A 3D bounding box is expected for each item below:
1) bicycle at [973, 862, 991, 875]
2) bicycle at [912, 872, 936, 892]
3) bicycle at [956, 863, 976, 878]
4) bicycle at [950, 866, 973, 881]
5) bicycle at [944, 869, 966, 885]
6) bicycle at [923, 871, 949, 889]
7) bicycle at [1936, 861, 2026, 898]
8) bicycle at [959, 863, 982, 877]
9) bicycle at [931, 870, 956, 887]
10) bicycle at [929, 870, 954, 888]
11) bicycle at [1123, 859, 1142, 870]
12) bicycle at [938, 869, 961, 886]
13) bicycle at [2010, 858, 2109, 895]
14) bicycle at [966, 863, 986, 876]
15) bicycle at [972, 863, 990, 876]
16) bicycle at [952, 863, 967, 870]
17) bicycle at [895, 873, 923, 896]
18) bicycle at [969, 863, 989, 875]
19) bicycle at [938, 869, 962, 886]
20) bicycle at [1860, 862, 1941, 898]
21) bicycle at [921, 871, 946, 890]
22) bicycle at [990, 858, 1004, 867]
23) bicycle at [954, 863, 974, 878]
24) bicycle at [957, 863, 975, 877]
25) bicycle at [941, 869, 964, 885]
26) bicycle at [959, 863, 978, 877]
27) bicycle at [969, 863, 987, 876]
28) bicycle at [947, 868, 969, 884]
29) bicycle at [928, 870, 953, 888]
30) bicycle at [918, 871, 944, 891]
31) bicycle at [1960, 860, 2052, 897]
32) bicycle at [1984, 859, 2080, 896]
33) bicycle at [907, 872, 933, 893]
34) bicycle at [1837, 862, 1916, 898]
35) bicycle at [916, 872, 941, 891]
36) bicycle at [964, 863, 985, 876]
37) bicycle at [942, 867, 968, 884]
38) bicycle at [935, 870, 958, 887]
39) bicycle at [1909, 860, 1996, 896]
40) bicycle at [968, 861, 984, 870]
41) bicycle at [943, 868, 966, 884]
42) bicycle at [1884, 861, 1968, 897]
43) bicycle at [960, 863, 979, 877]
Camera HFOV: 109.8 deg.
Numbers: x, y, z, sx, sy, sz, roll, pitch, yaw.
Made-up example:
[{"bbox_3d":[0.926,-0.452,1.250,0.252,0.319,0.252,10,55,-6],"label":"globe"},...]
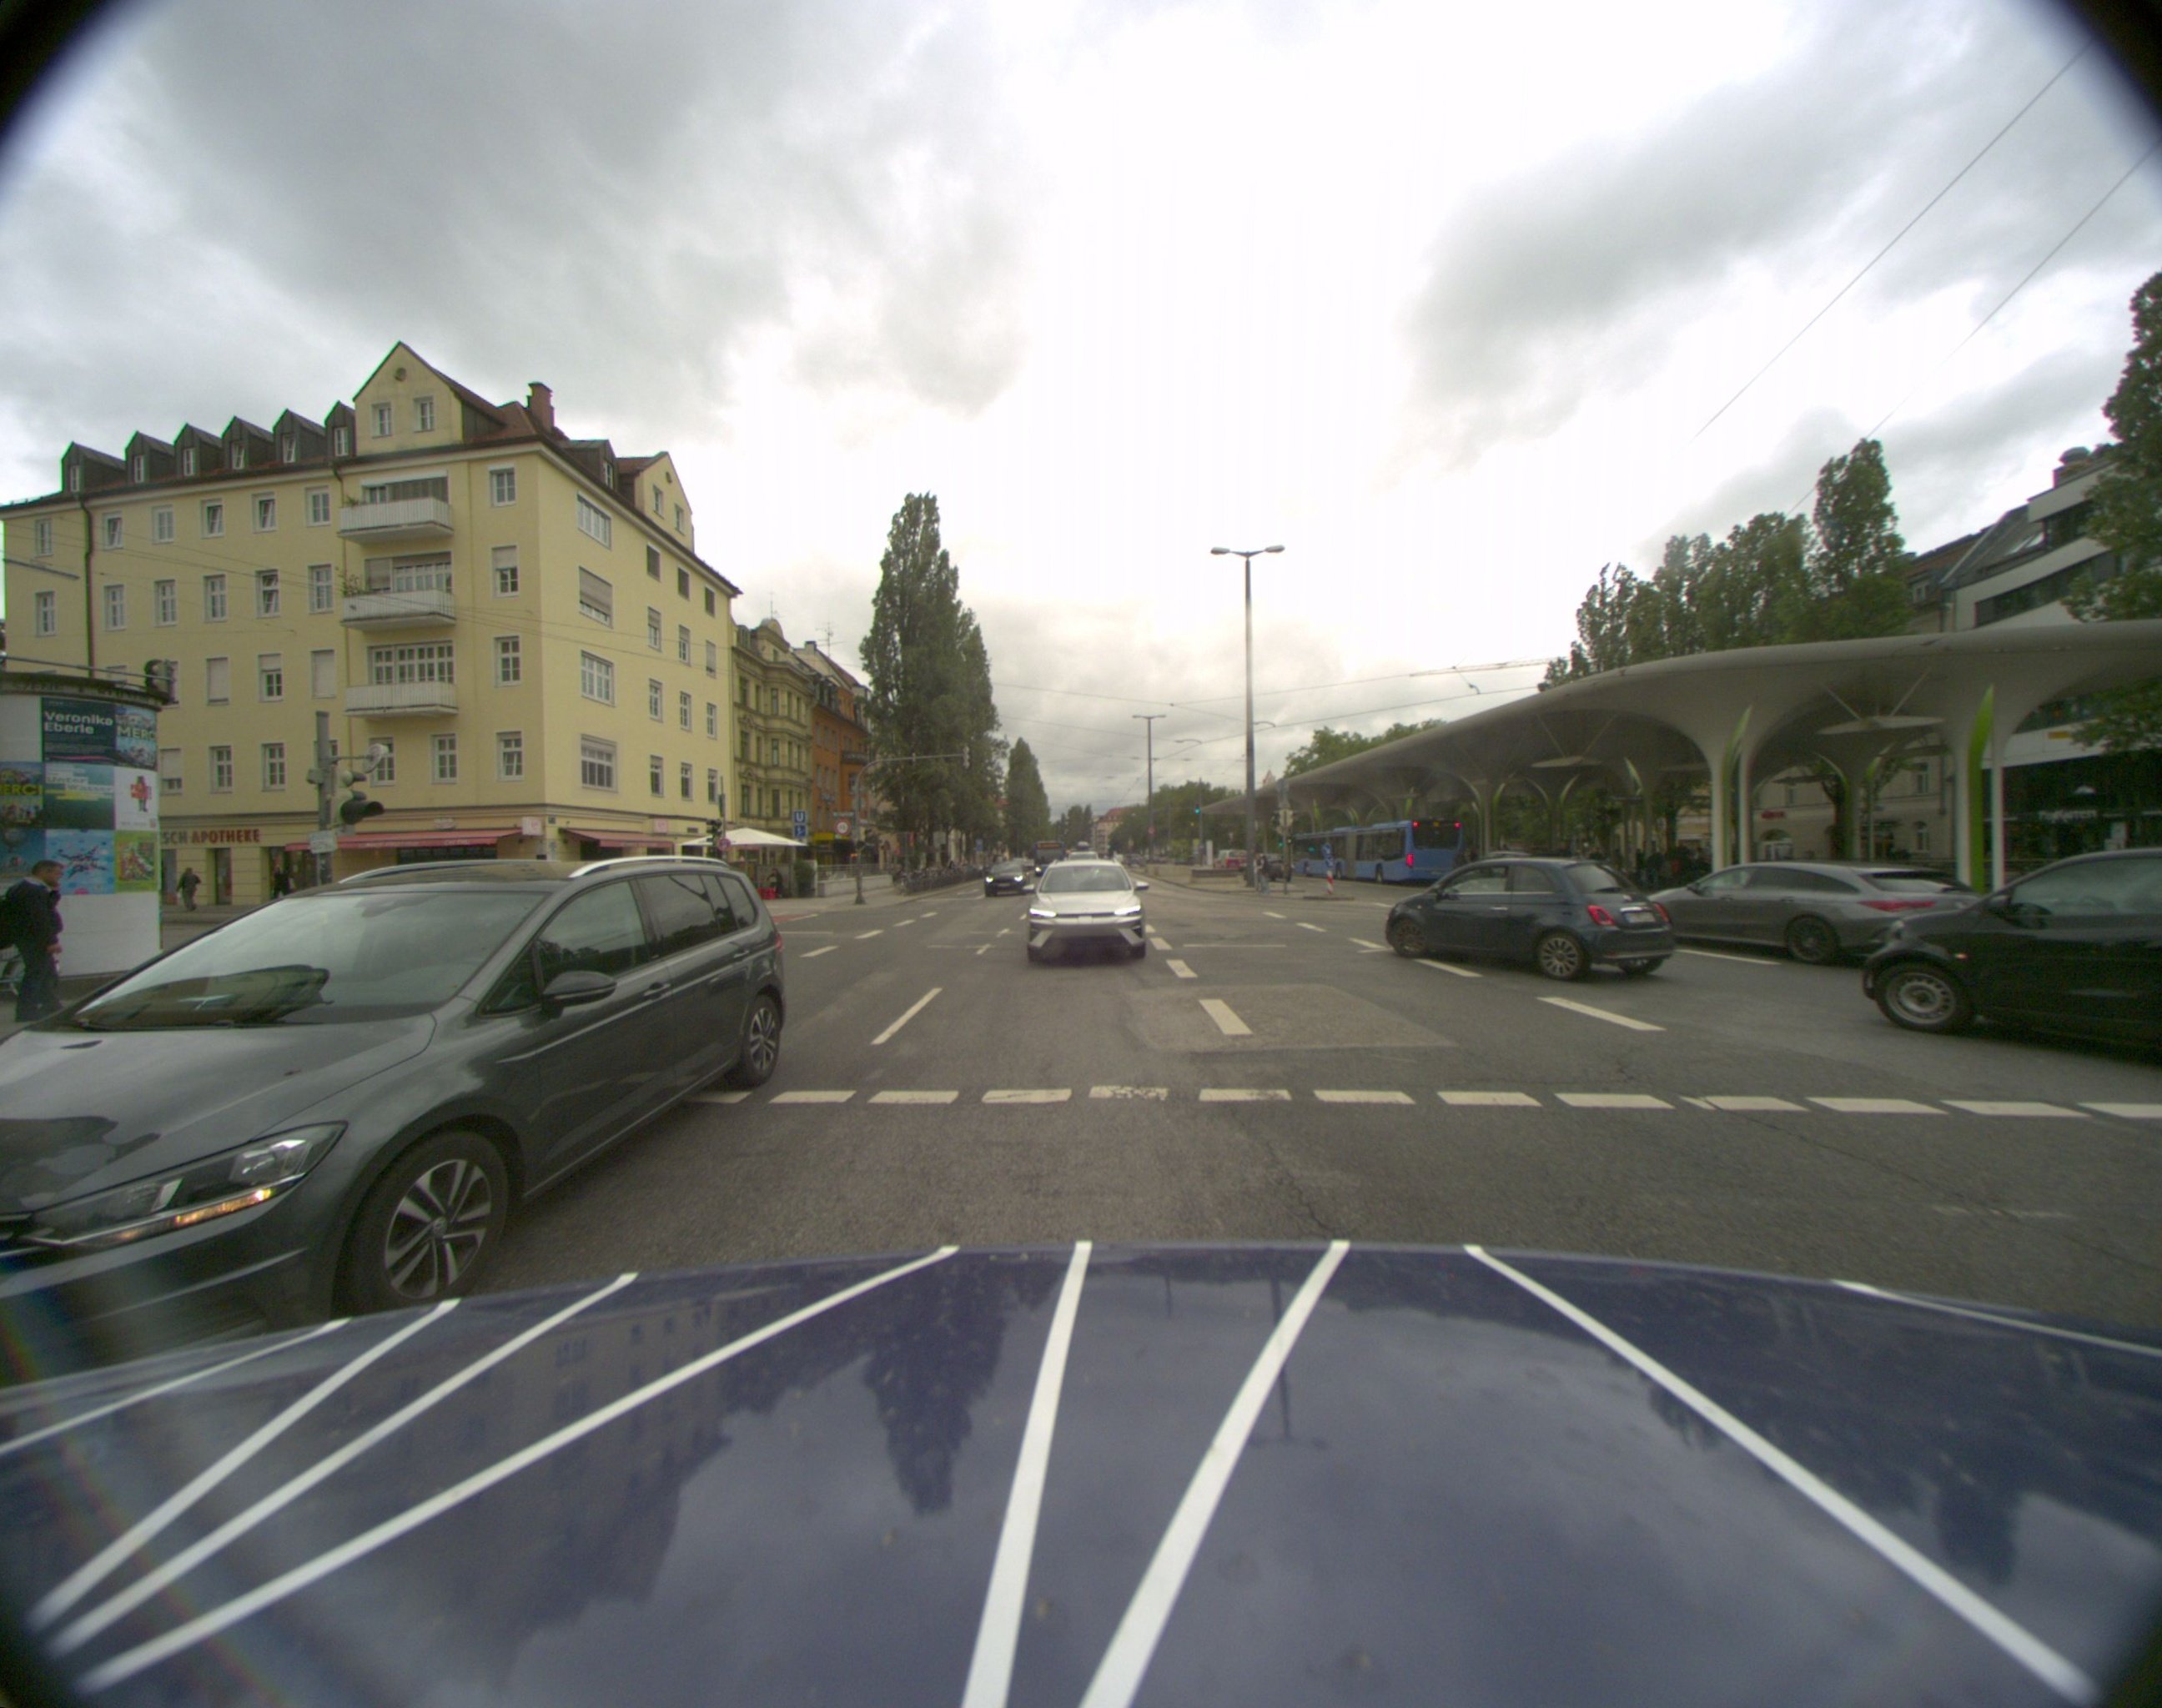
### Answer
[{"bbox_3d":[-8.231,1.220,62.996,0.376,0.989,1.837,-1,-1,-45],"label":"bicycle"},{"bbox_3d":[-8.262,1.457,39.962,0.349,0.990,1.837,-1,1,-43],"label":"bicycle"},{"bbox_3d":[-8.267,1.190,54.529,1.837,0.990,0.326,-3,-1,43],"label":"bicycle"},{"bbox_3d":[-8.182,1.345,52.091,1.837,0.990,0.326,-3,-1,37],"label":"bicycle"},{"bbox_3d":[-8.115,1.460,48.926,1.837,0.990,0.326,0,0,45],"label":"bicycle"},{"bbox_3d":[-8.158,1.454,42.599,1.836,0.990,0.349,0,1,40],"label":"bicycle"},{"bbox_3d":[29.318,0.809,24.816,0.654,1.111,2.184,-1,0,10],"label":"bicycle"},{"bbox_3d":[-8.439,1.220,58.067,1.838,0.990,0.376,-2,-1,24],"label":"bicycle"},{"bbox_3d":[-8.216,1.460,45.400,1.836,0.990,0.349,0,1,40],"label":"bicycle"},{"bbox_3d":[-8.216,1.459,44.745,1.836,0.990,0.349,0,1,40],"label":"bicycle"},{"bbox_3d":[6.120,1.267,90.046,2.234,1.143,0.505,-2,1,-27],"label":"bicycle"},{"bbox_3d":[-8.120,1.458,46.797,1.836,0.990,0.349,0,1,44],"label":"bicycle"},{"bbox_3d":[31.315,0.702,24.369,0.654,1.111,2.184,-1,0,10],"label":"bicycle"},{"bbox_3d":[-8.308,1.221,60.205,1.837,0.990,0.376,-3,-1,38],"label":"bicycle"},{"bbox_3d":[-8.194,1.245,62.246,1.837,0.990,0.376,-3,-1,42],"label":"bicycle"},{"bbox_3d":[-14.089,1.443,88.201,1.576,0.830,0.392,-2,1,-2],"label":"bicycle"},{"bbox_3d":[-8.193,1.445,36.219,1.837,0.990,0.349,0,1,45],"label":"bicycle"},{"bbox_3d":[-8.258,1.220,61.565,1.837,0.990,0.376,-3,-1,39],"label":"bicycle"},{"bbox_3d":[-8.188,1.462,47.487,1.836,0.990,0.349,0,1,40],"label":"bicycle"},{"bbox_3d":[27.207,0.849,25.271,0.654,1.111,2.184,-1,0,10],"label":"bicycle"},{"bbox_3d":[-8.155,1.453,41.912,1.836,0.990,0.349,0,1,43],"label":"bicycle"},{"bbox_3d":[-9.497,0.980,86.273,1.740,1.096,0.360,-1,0,35],"label":"bicycle"},{"bbox_3d":[-8.288,1.191,53.877,1.837,0.990,0.326,-3,-1,43],"label":"bicycle"},{"bbox_3d":[-8.449,1.201,55.654,0.326,0.989,1.837,-1,-1,-42],"label":"bicycle"},{"bbox_3d":[-8.161,1.462,48.152,1.836,0.990,0.349,0,1,40],"label":"bicycle"},{"bbox_3d":[-8.156,1.185,54.971,0.326,0.989,1.837,-1,-1,-43],"label":"bicycle"},{"bbox_3d":[-8.265,1.219,60.942,1.837,0.989,0.376,-3,-1,44],"label":"bicycle"},{"bbox_3d":[-8.269,1.470,50.958,1.837,0.990,0.326,-3,-1,40],"label":"bicycle"},{"bbox_3d":[-8.121,1.453,43.937,1.836,0.990,0.349,0,1,40],"label":"bicycle"},{"bbox_3d":[-8.157,1.452,41.246,1.836,0.990,0.349,0,1,43],"label":"bicycle"},{"bbox_3d":[29.975,0.774,24.674,0.654,1.111,2.184,-1,0,10],"label":"bicycle"},{"bbox_3d":[30.620,0.739,24.519,0.654,1.111,2.184,-1,0,10],"label":"bicycle"},{"bbox_3d":[-8.149,1.449,38.454,1.837,0.990,0.349,0,1,45],"label":"bicycle"},{"bbox_3d":[26.548,0.850,25.411,0.642,1.118,2.167,-1,0,9],"label":"bicycle"},{"bbox_3d":[-8.148,1.451,40.529,1.836,0.990,0.349,0,1,43],"label":"bicycle"},{"bbox_3d":[-8.259,1.217,58.821,1.837,0.990,0.376,-3,-1,38],"label":"bicycle"},{"bbox_3d":[-8.243,1.399,49.628,1.837,1.106,0.468,-1,0,33],"label":"bicycle"},{"bbox_3d":[-8.150,1.459,46.080,1.836,0.990,0.349,0,1,44],"label":"bicycle"},{"bbox_3d":[28.569,0.776,24.961,0.654,1.111,2.184,-1,0,10],"label":"bicycle"},{"bbox_3d":[-12.221,1.346,88.511,1.838,0.911,0.392,-2,1,2],"label":"bicycle"},{"bbox_3d":[-8.384,1.476,50.383,1.837,0.990,0.326,-3,-1,40],"label":"bicycle"},{"bbox_3d":[27.875,0.813,25.121,0.654,1.111,2.184,-1,0,10],"label":"bicycle"},{"bbox_3d":[-8.235,1.190,55.998,1.837,0.990,0.326,-3,-1,43],"label":"bicycle"}]
